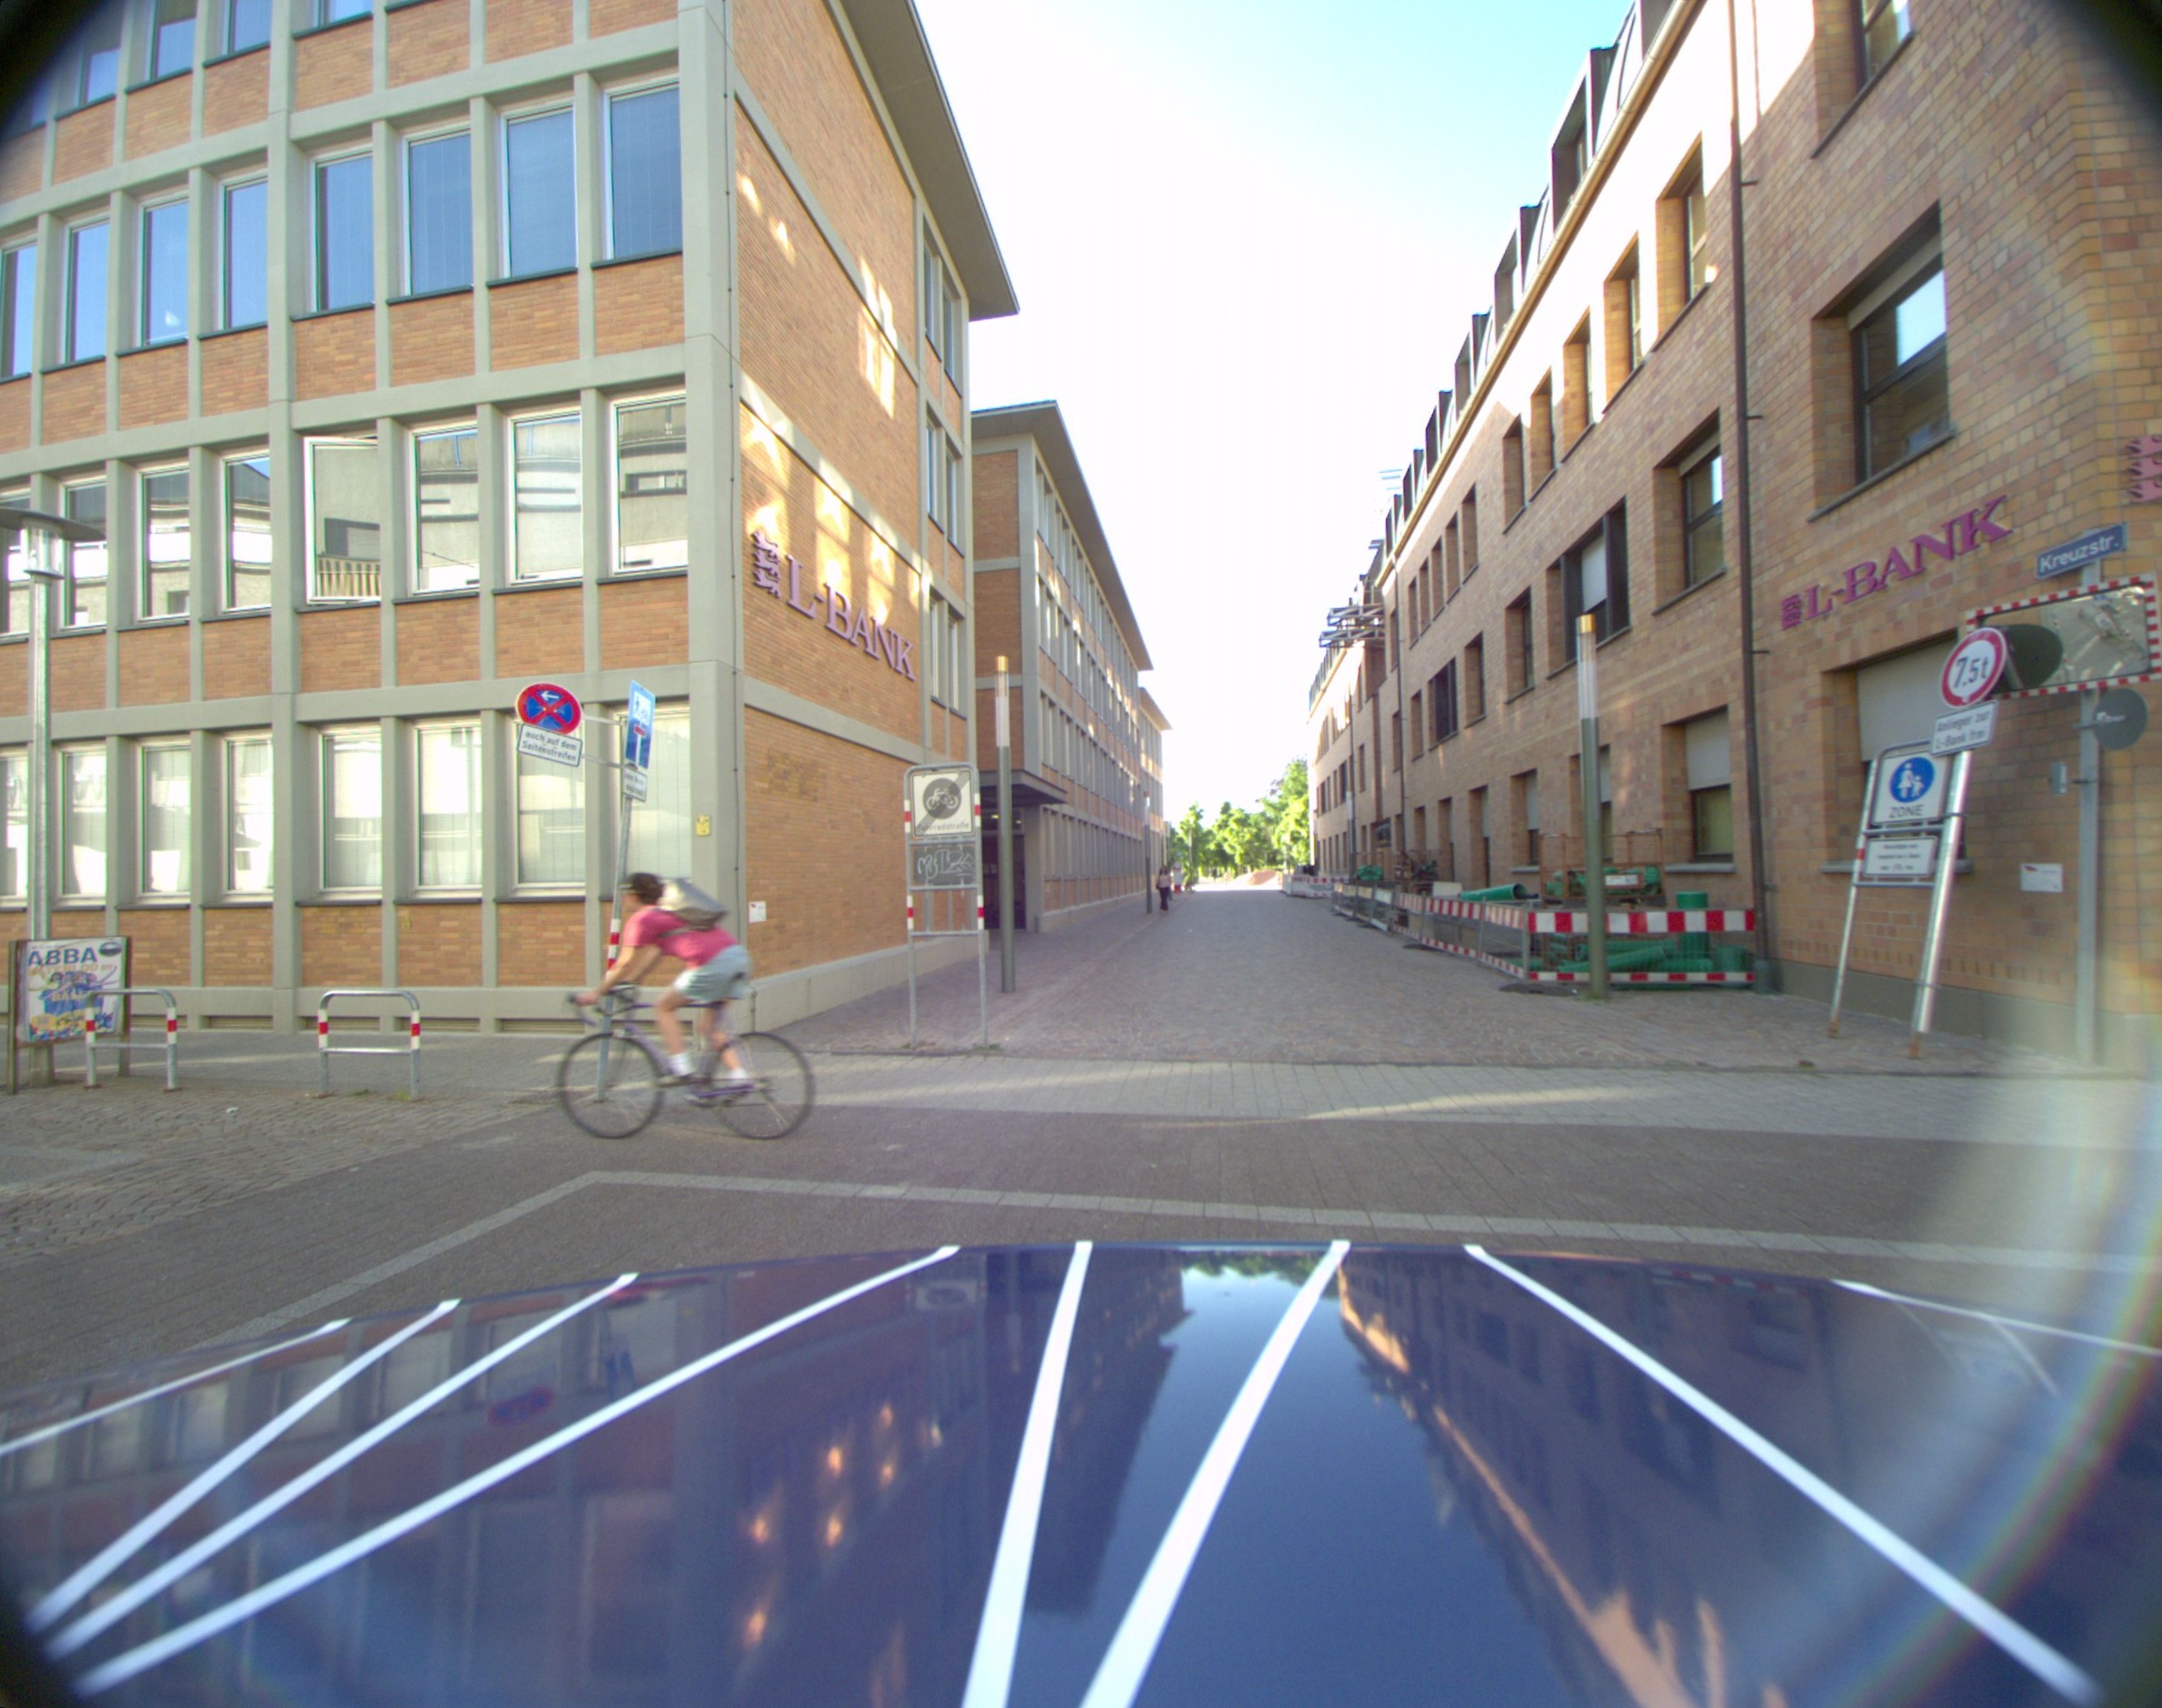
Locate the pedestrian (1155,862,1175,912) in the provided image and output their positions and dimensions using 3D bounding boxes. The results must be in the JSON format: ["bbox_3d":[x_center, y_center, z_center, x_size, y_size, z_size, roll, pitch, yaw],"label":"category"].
[{"bbox_3d":[3.038,1.214,27.511,0.638,1.774,0.653,-1,-3,11],"label":"pedestrian"}]

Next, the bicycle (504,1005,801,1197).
[{"bbox_3d":[-2.510,1.415,4.479,1.588,0.951,0.436,-2,0,10],"label":"bicycle"}]

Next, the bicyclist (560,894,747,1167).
[{"bbox_3d":[-2.499,0.988,4.477,0.874,1.488,0.429,-1,-2,10],"label":"bicyclist"}]
